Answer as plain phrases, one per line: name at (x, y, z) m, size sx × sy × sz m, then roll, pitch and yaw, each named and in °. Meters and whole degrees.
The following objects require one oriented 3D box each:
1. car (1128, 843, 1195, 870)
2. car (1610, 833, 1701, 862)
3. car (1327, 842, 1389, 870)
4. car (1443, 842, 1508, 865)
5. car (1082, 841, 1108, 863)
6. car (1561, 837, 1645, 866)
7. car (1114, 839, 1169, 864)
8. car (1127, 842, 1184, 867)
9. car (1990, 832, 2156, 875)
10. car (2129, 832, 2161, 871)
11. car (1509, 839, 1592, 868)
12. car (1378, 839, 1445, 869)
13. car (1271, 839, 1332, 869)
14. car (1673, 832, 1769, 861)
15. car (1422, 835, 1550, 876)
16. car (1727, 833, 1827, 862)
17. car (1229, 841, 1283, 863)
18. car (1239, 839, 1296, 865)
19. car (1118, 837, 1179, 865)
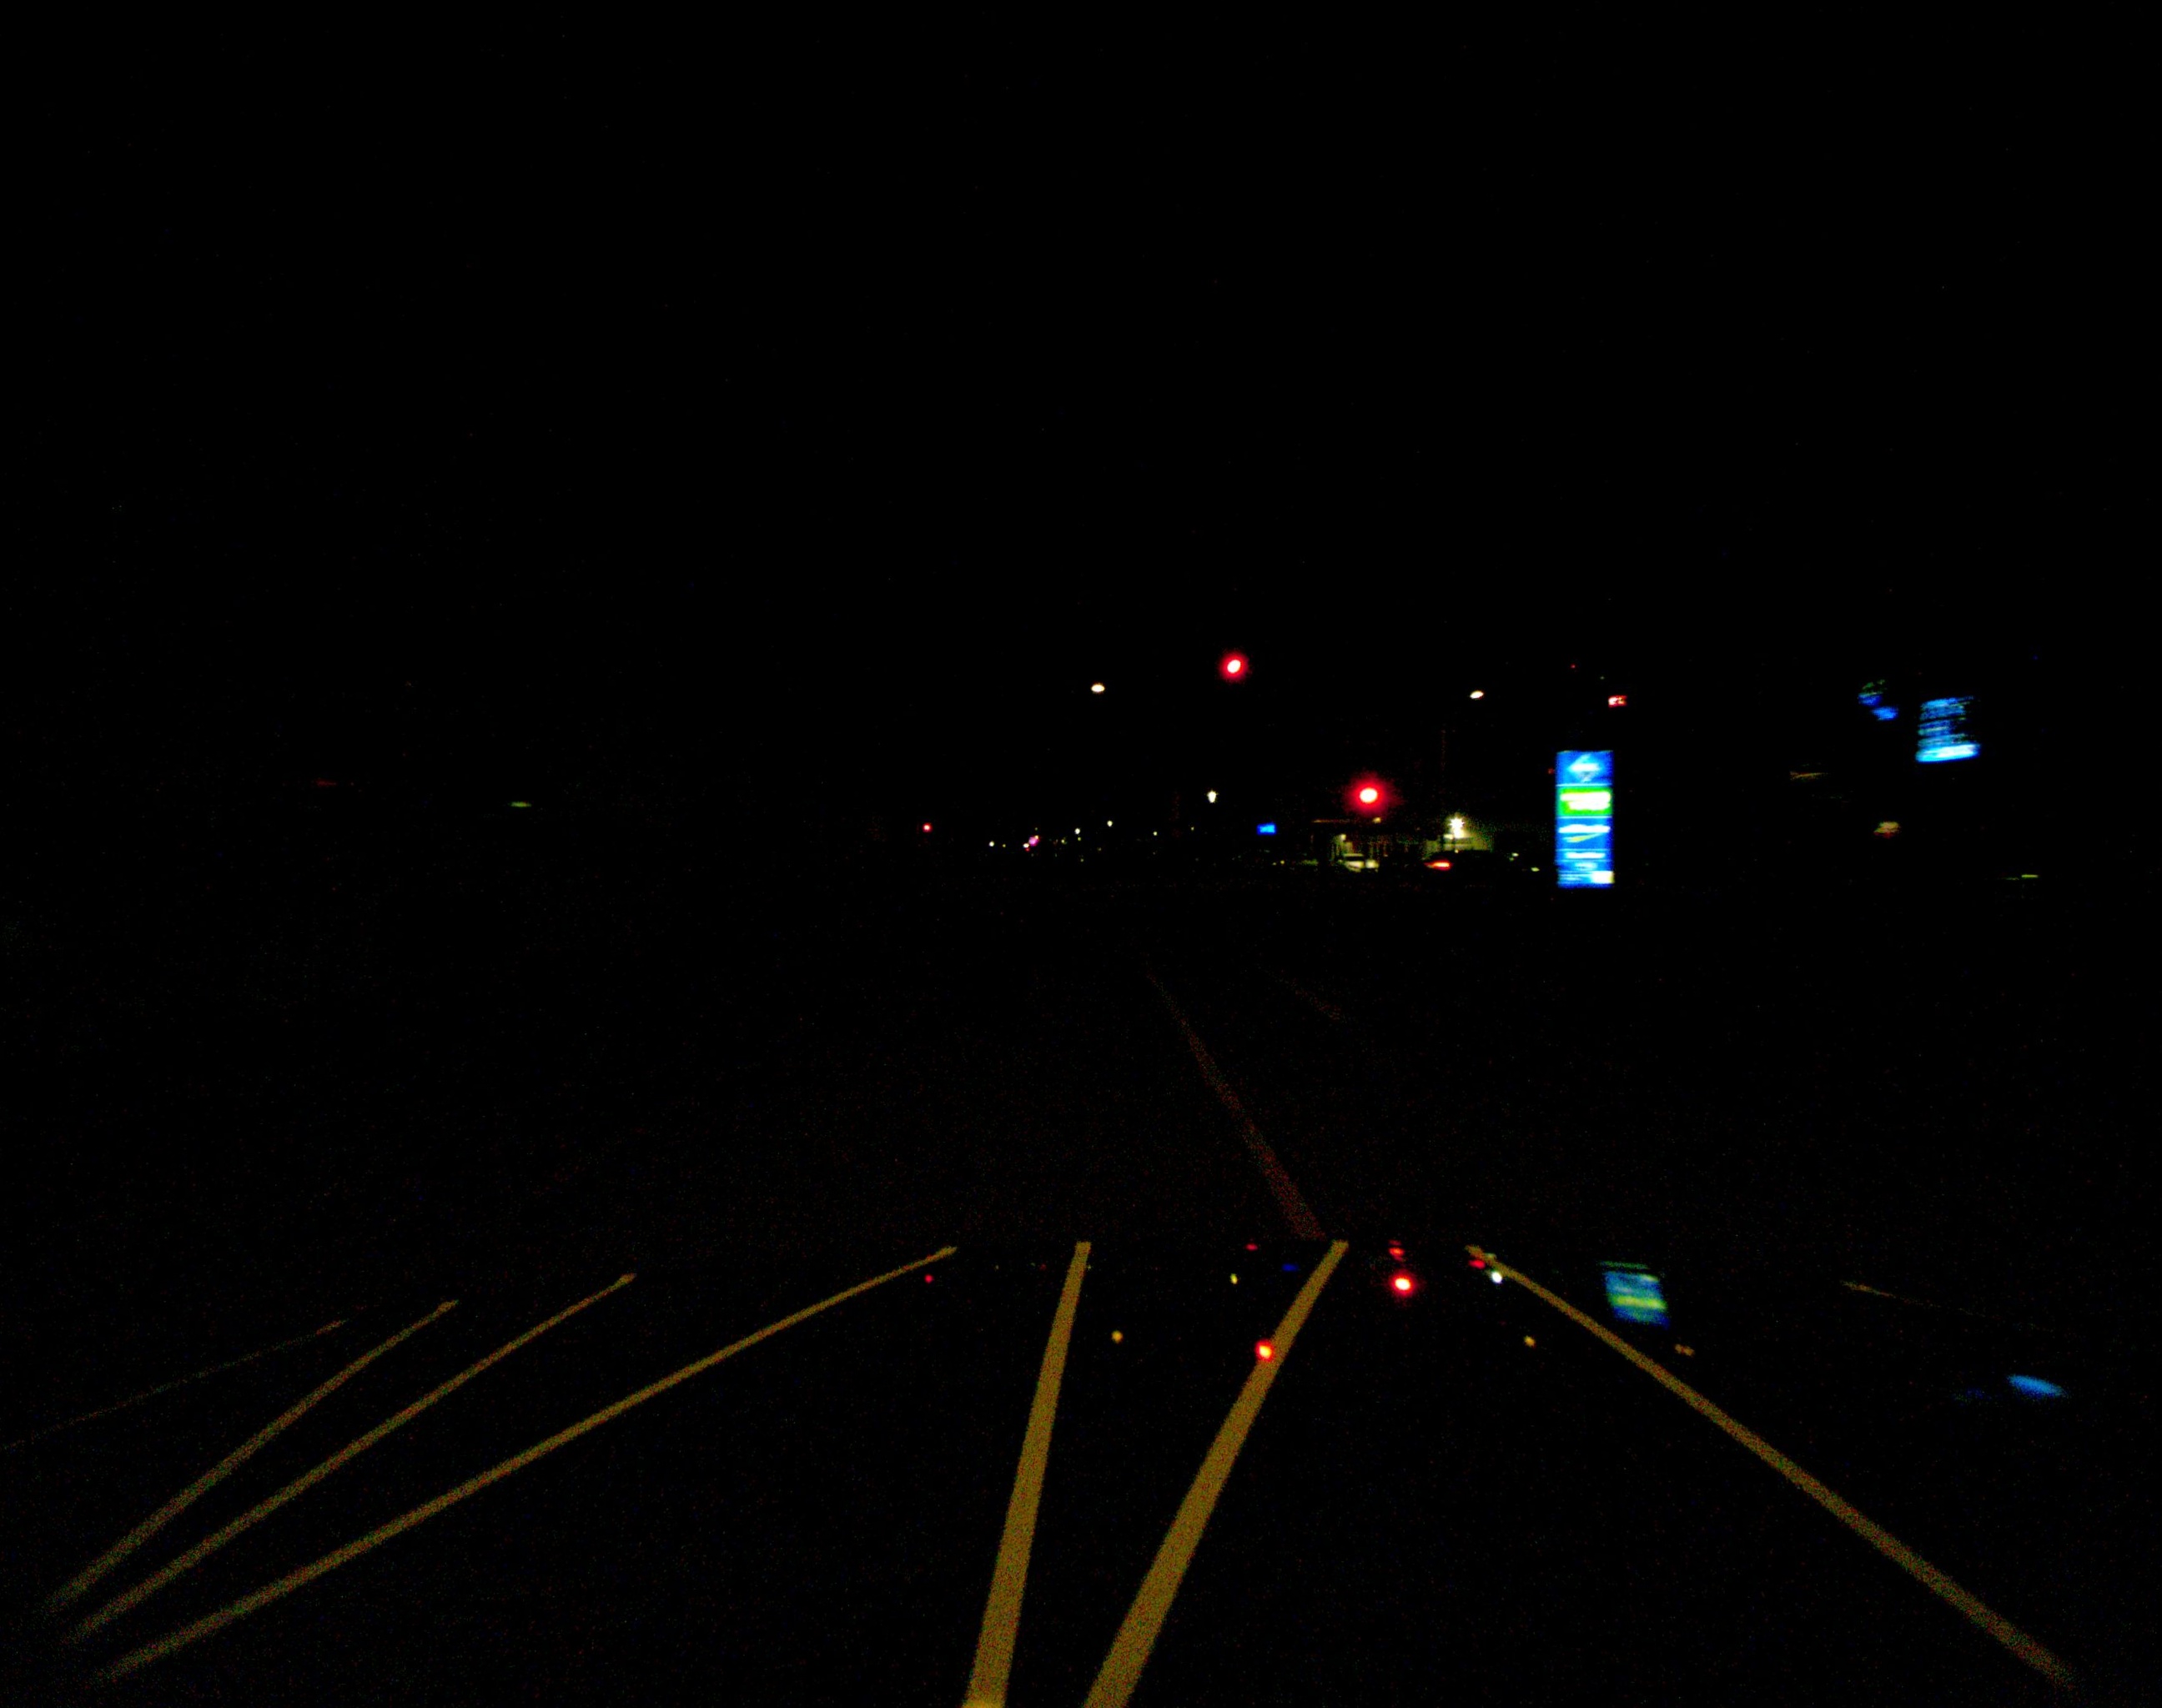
car at (4.841, 0.162, 45.943) m, size 3.763 × 1.577 × 1.633 m, roll 1°, pitch 1°, yaw -3°
car at (31.414, -0.358, 41.693) m, size 1.864 × 1.469 × 4.085 m, roll -1°, pitch 1°, yaw -1°
car at (15.056, 0.088, 41.474) m, size 1.864 × 1.452 × 4.069 m, roll 0°, pitch 1°, yaw -1°
car at (26.377, -0.048, 50.749) m, size 4.281 × 1.469 × 1.729 m, roll -1°, pitch 1°, yaw -28°
car at (1.087, -0.190, 59.937) m, size 1.936 × 1.646 × 3.832 m, roll 0°, pitch 1°, yaw -1°
car at (28.424, -0.145, 41.522) m, size 1.732 × 1.469 × 4.085 m, roll -1°, pitch 1°, yaw -1°
car at (4.410, -0.183, 55.588) m, size 3.848 × 1.781 × 1.633 m, roll 1°, pitch 1°, yaw -3°
car at (4.946, 0.006, 50.923) m, size 3.576 × 1.619 × 1.620 m, roll 1°, pitch 1°, yaw -3°
car at (35.890, -0.043, 27.551) m, size 3.851 × 1.403 × 1.736 m, roll -1°, pitch 1°, yaw -2°
car at (41.206, -0.142, 27.781) m, size 3.569 × 1.403 × 1.681 m, roll -1°, pitch 1°, yaw -2°
car at (25.658, -0.037, 41.727) m, size 1.864 × 1.469 × 4.353 m, roll -1°, pitch 1°, yaw -1°
car at (18.083, -0.027, 41.746) m, size 1.864 × 1.544 × 4.069 m, roll -1°, pitch 1°, yaw -1°
car at (11.995, -0.024, 41.663) m, size 1.999 × 1.549 × 4.386 m, roll -1°, pitch 1°, yaw -1°
car at (34.598, -0.419, 41.241) m, size 1.781 × 1.469 × 4.026 m, roll -1°, pitch 1°, yaw -1°
car at (16.541, 0.048, 31.173) m, size 4.312 × 1.550 × 1.686 m, roll -1°, pitch 1°, yaw 2°
car at (37.594, -0.354, 41.162) m, size 1.765 × 1.469 × 3.957 m, roll -1°, pitch 1°, yaw -1°
car at (12.962, -0.172, 56.432) m, size 3.576 × 1.577 × 1.634 m, roll 1°, pitch 1°, yaw -2°
car at (12.997, -0.152, 53.067) m, size 3.575 × 1.690 × 1.634 m, roll 1°, pitch 1°, yaw 0°
car at (4.722, -0.208, 53.247) m, size 4.055 × 1.880 × 1.633 m, roll 1°, pitch 1°, yaw -3°
